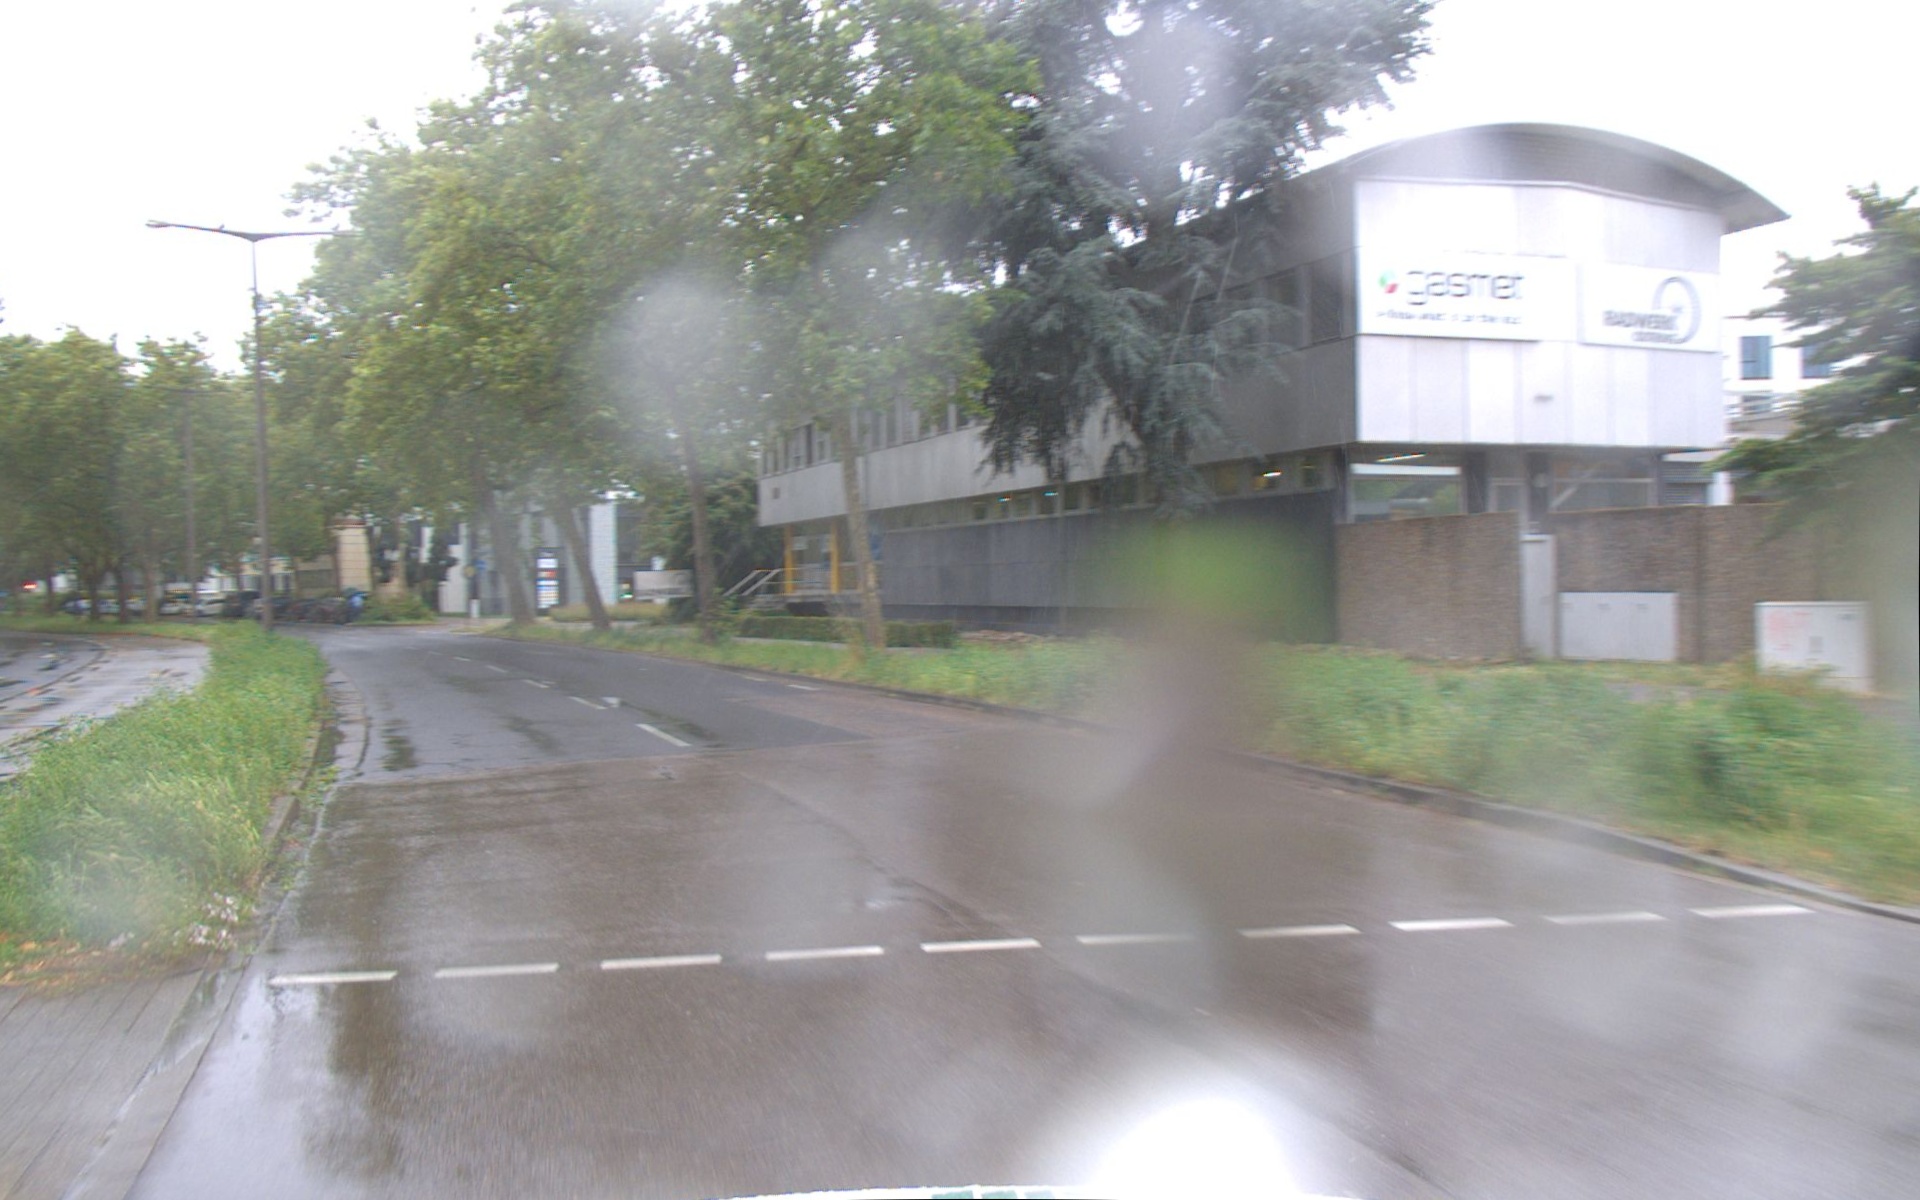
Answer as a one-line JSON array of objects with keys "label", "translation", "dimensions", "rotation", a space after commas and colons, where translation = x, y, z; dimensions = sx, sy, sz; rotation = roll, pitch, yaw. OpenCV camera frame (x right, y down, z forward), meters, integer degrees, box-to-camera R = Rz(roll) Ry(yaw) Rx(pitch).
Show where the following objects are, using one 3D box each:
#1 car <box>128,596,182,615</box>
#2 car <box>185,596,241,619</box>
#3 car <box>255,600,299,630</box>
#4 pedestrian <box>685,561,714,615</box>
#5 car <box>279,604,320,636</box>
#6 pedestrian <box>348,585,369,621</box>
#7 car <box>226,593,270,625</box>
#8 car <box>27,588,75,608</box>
[{"label": "car", "translation": [-70.461, 0.481, 144.846], "dimensions": [1.856, 1.530, 3.855], "rotation": [1, 3, 44]}, {"label": "car", "translation": [-61.129, 0.595, 135.364], "dimensions": [3.846, 1.679, 1.860], "rotation": [-3, 2, -41]}, {"label": "car", "translation": [-45.377, 1.005, 109.874], "dimensions": [1.976, 1.813, 3.954], "rotation": [-2, 2, -33]}, {"label": "pedestrian", "translation": [-8.327, -0.402, 52.913], "dimensions": [0.663, 1.697, 0.817], "rotation": [-2, 2, -29]}, {"label": "car", "translation": [-41.524, 1.214, 103.943], "dimensions": [1.971, 1.813, 3.963], "rotation": [-2, 2, -28]}, {"label": "pedestrian", "translation": [-33.438, 0.153, 92.003], "dimensions": [0.691, 1.984, 0.858], "rotation": [0, 2, 14]}, {"label": "car", "translation": [-51.586, 0.608, 119.749], "dimensions": [2.105, 2.124, 3.950], "rotation": [-2, 2, -35]}, {"label": "car", "translation": [-93.756, -0.244, 170.588], "dimensions": [1.967, 1.851, 3.972], "rotation": [1, 3, 44]}]
